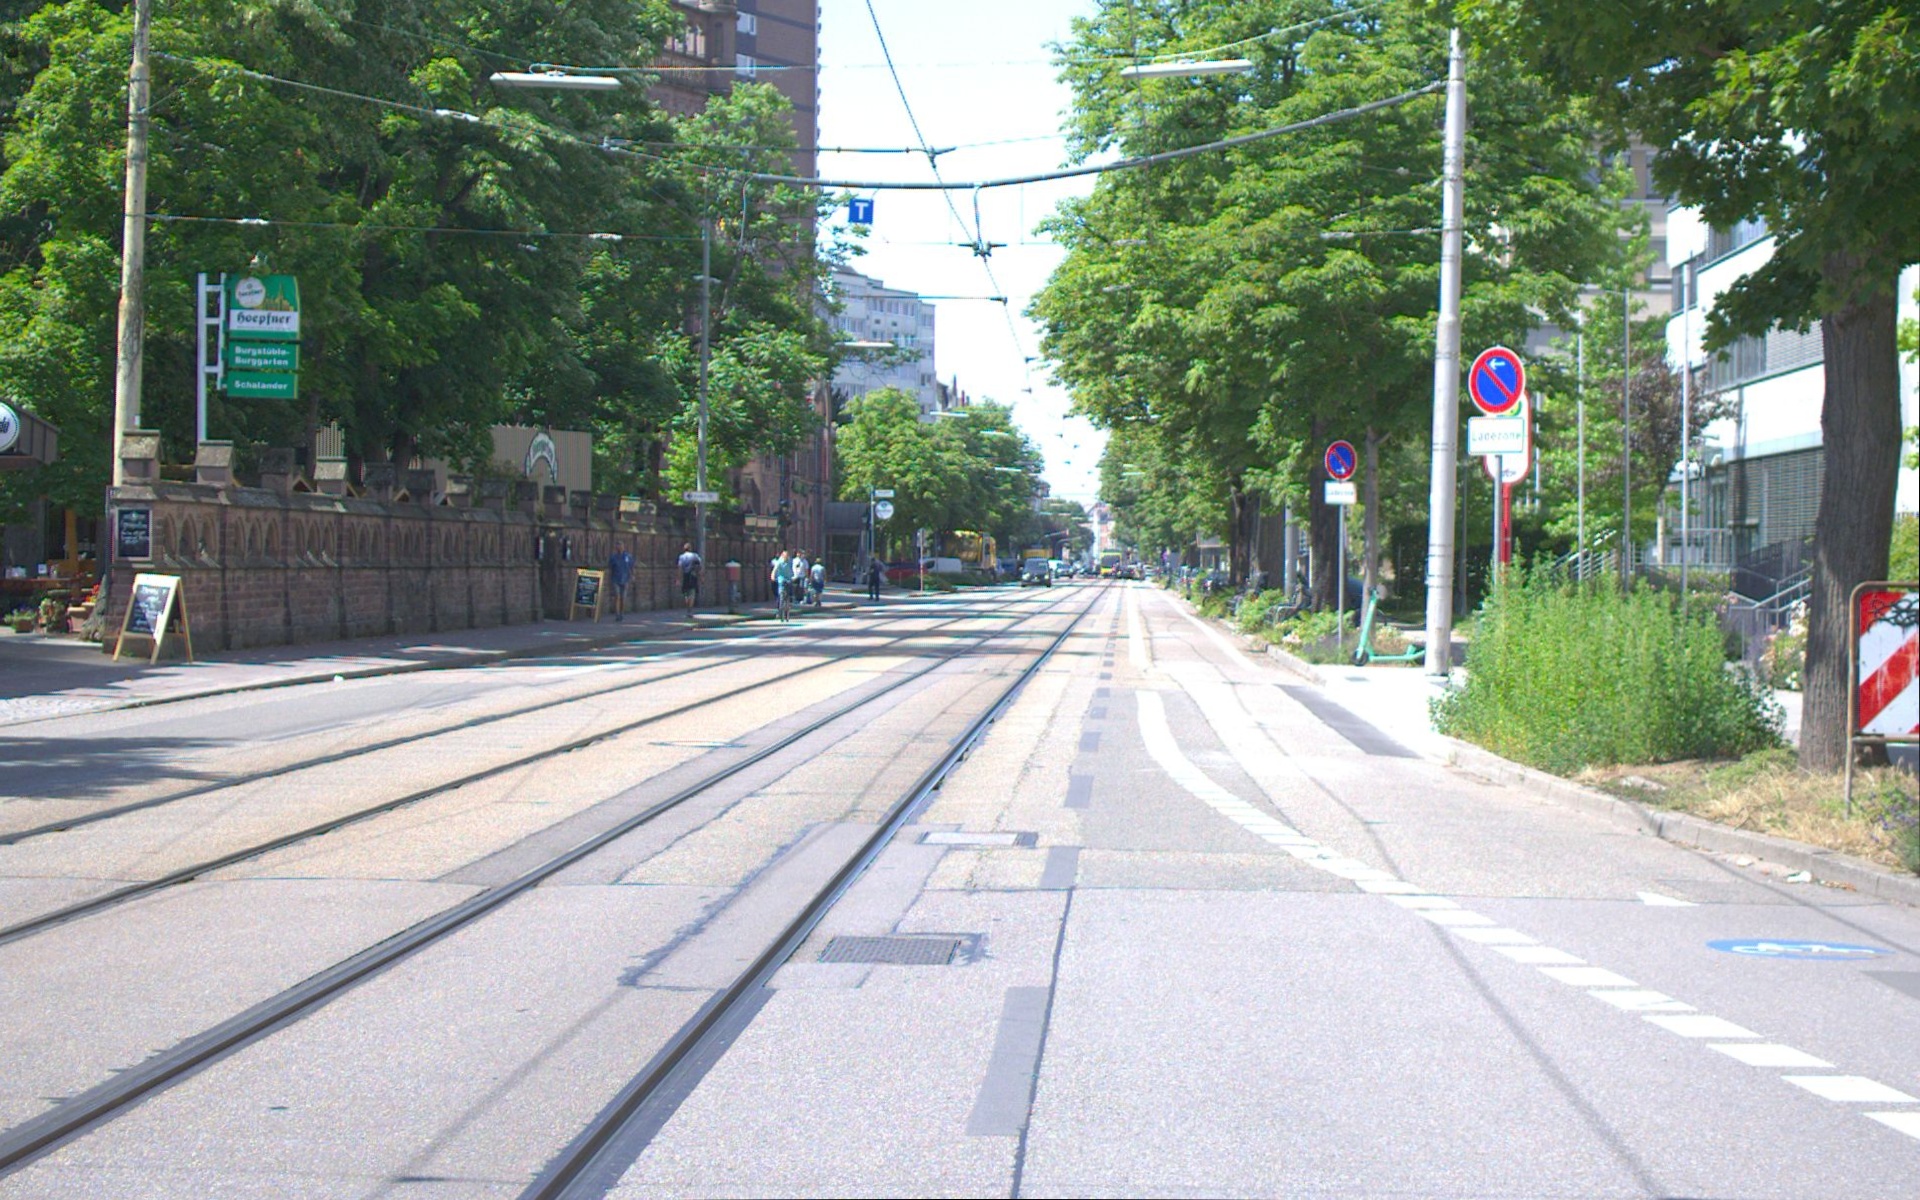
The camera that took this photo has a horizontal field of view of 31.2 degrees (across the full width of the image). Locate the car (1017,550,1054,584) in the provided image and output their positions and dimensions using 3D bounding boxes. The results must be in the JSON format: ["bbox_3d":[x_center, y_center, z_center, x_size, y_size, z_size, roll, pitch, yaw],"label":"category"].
[{"bbox_3d":[4.723,-2.077,214.446,1.994,2.007,3.999,2,1,5],"label":"car"}]

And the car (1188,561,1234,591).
[{"bbox_3d":[11.517,-1.110,158.060,1.994,1.305,4.000,1,1,3],"label":"car"}]

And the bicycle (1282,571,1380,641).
[{"bbox_3d":[6.949,0.105,64.421,1.752,1.266,0.530,1,0,0],"label":"bicycle"}]

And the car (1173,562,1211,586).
[{"bbox_3d":[12.698,-1.422,188.482,1.994,1.305,4.000,1,1,3],"label":"car"}]

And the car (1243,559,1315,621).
[{"bbox_3d":[8.070,-0.270,87.191,1.634,1.496,4.000,1,1,3],"label":"car"}]

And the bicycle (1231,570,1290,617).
[{"bbox_3d":[8.133,-0.173,93.098,1.564,1.237,0.437,1,1,5],"label":"bicycle"}]

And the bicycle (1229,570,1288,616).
[{"bbox_3d":[8.128,-0.187,93.603,1.564,1.237,0.437,1,1,5],"label":"bicycle"}]

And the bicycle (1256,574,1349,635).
[{"bbox_3d":[6.769,0.078,68.012,1.752,1.162,0.530,1,1,0],"label":"bicycle"}]

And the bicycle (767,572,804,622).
[{"bbox_3d":[-4.352,-0.077,85.782,0.701,1.200,2.240,-1,1,2],"label":"bicycle"}]

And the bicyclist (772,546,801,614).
[{"bbox_3d":[-4.333,-0.507,85.927,0.642,1.674,0.815,1,1,3],"label":"bicyclist"}]

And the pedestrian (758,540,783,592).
[{"bbox_3d":[-6.433,-1.155,116.778,0.743,1.722,0.867,1,1,3],"label":"pedestrian"}]

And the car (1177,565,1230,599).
[{"bbox_3d":[9.683,-0.724,136.750,1.994,1.305,4.000,1,1,3],"label":"car"}]

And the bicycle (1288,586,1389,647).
[{"bbox_3d":[6.967,0.297,63.334,1.788,1.098,0.532,1,1,1],"label":"bicycle"}]

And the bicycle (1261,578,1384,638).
[{"bbox_3d":[7.525,0.166,71.318,2.511,1.205,0.741,1,1,8],"label":"bicycle"}]

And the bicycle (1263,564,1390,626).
[{"bbox_3d":[7.390,-0.100,69.274,2.511,1.205,0.647,1,1,8],"label":"bicycle"}]

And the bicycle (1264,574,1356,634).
[{"bbox_3d":[6.973,0.080,68.503,1.752,1.162,0.530,1,1,0],"label":"bicycle"}]

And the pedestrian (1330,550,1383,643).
[{"bbox_3d":[7.386,-0.069,64.086,0.795,1.709,0.584,0,1,-44],"label":"pedestrian"}]

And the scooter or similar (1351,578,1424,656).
[{"bbox_3d":[6.381,0.253,51.343,1.058,1.152,0.370,0,0,4],"label":"scooter or similar"}]

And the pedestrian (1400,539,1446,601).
[{"bbox_3d":[13.824,-0.900,102.697,1.215,1.821,0.831,1,1,0],"label":"pedestrian"}]

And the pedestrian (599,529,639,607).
[{"bbox_3d":[-7.624,-0.714,76.914,0.743,1.722,0.867,1,1,3],"label":"pedestrian"}]

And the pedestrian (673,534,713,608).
[{"bbox_3d":[-6.499,-0.706,83.759,0.815,1.764,0.924,1,1,3],"label":"pedestrian"}]

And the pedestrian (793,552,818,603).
[{"bbox_3d":[-5.189,-0.758,115.523,0.743,1.722,0.867,1,1,3],"label":"pedestrian"}]

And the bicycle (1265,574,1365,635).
[{"bbox_3d":[7.224,0.096,69.982,1.997,1.205,0.662,1,1,8],"label":"bicycle"}]
